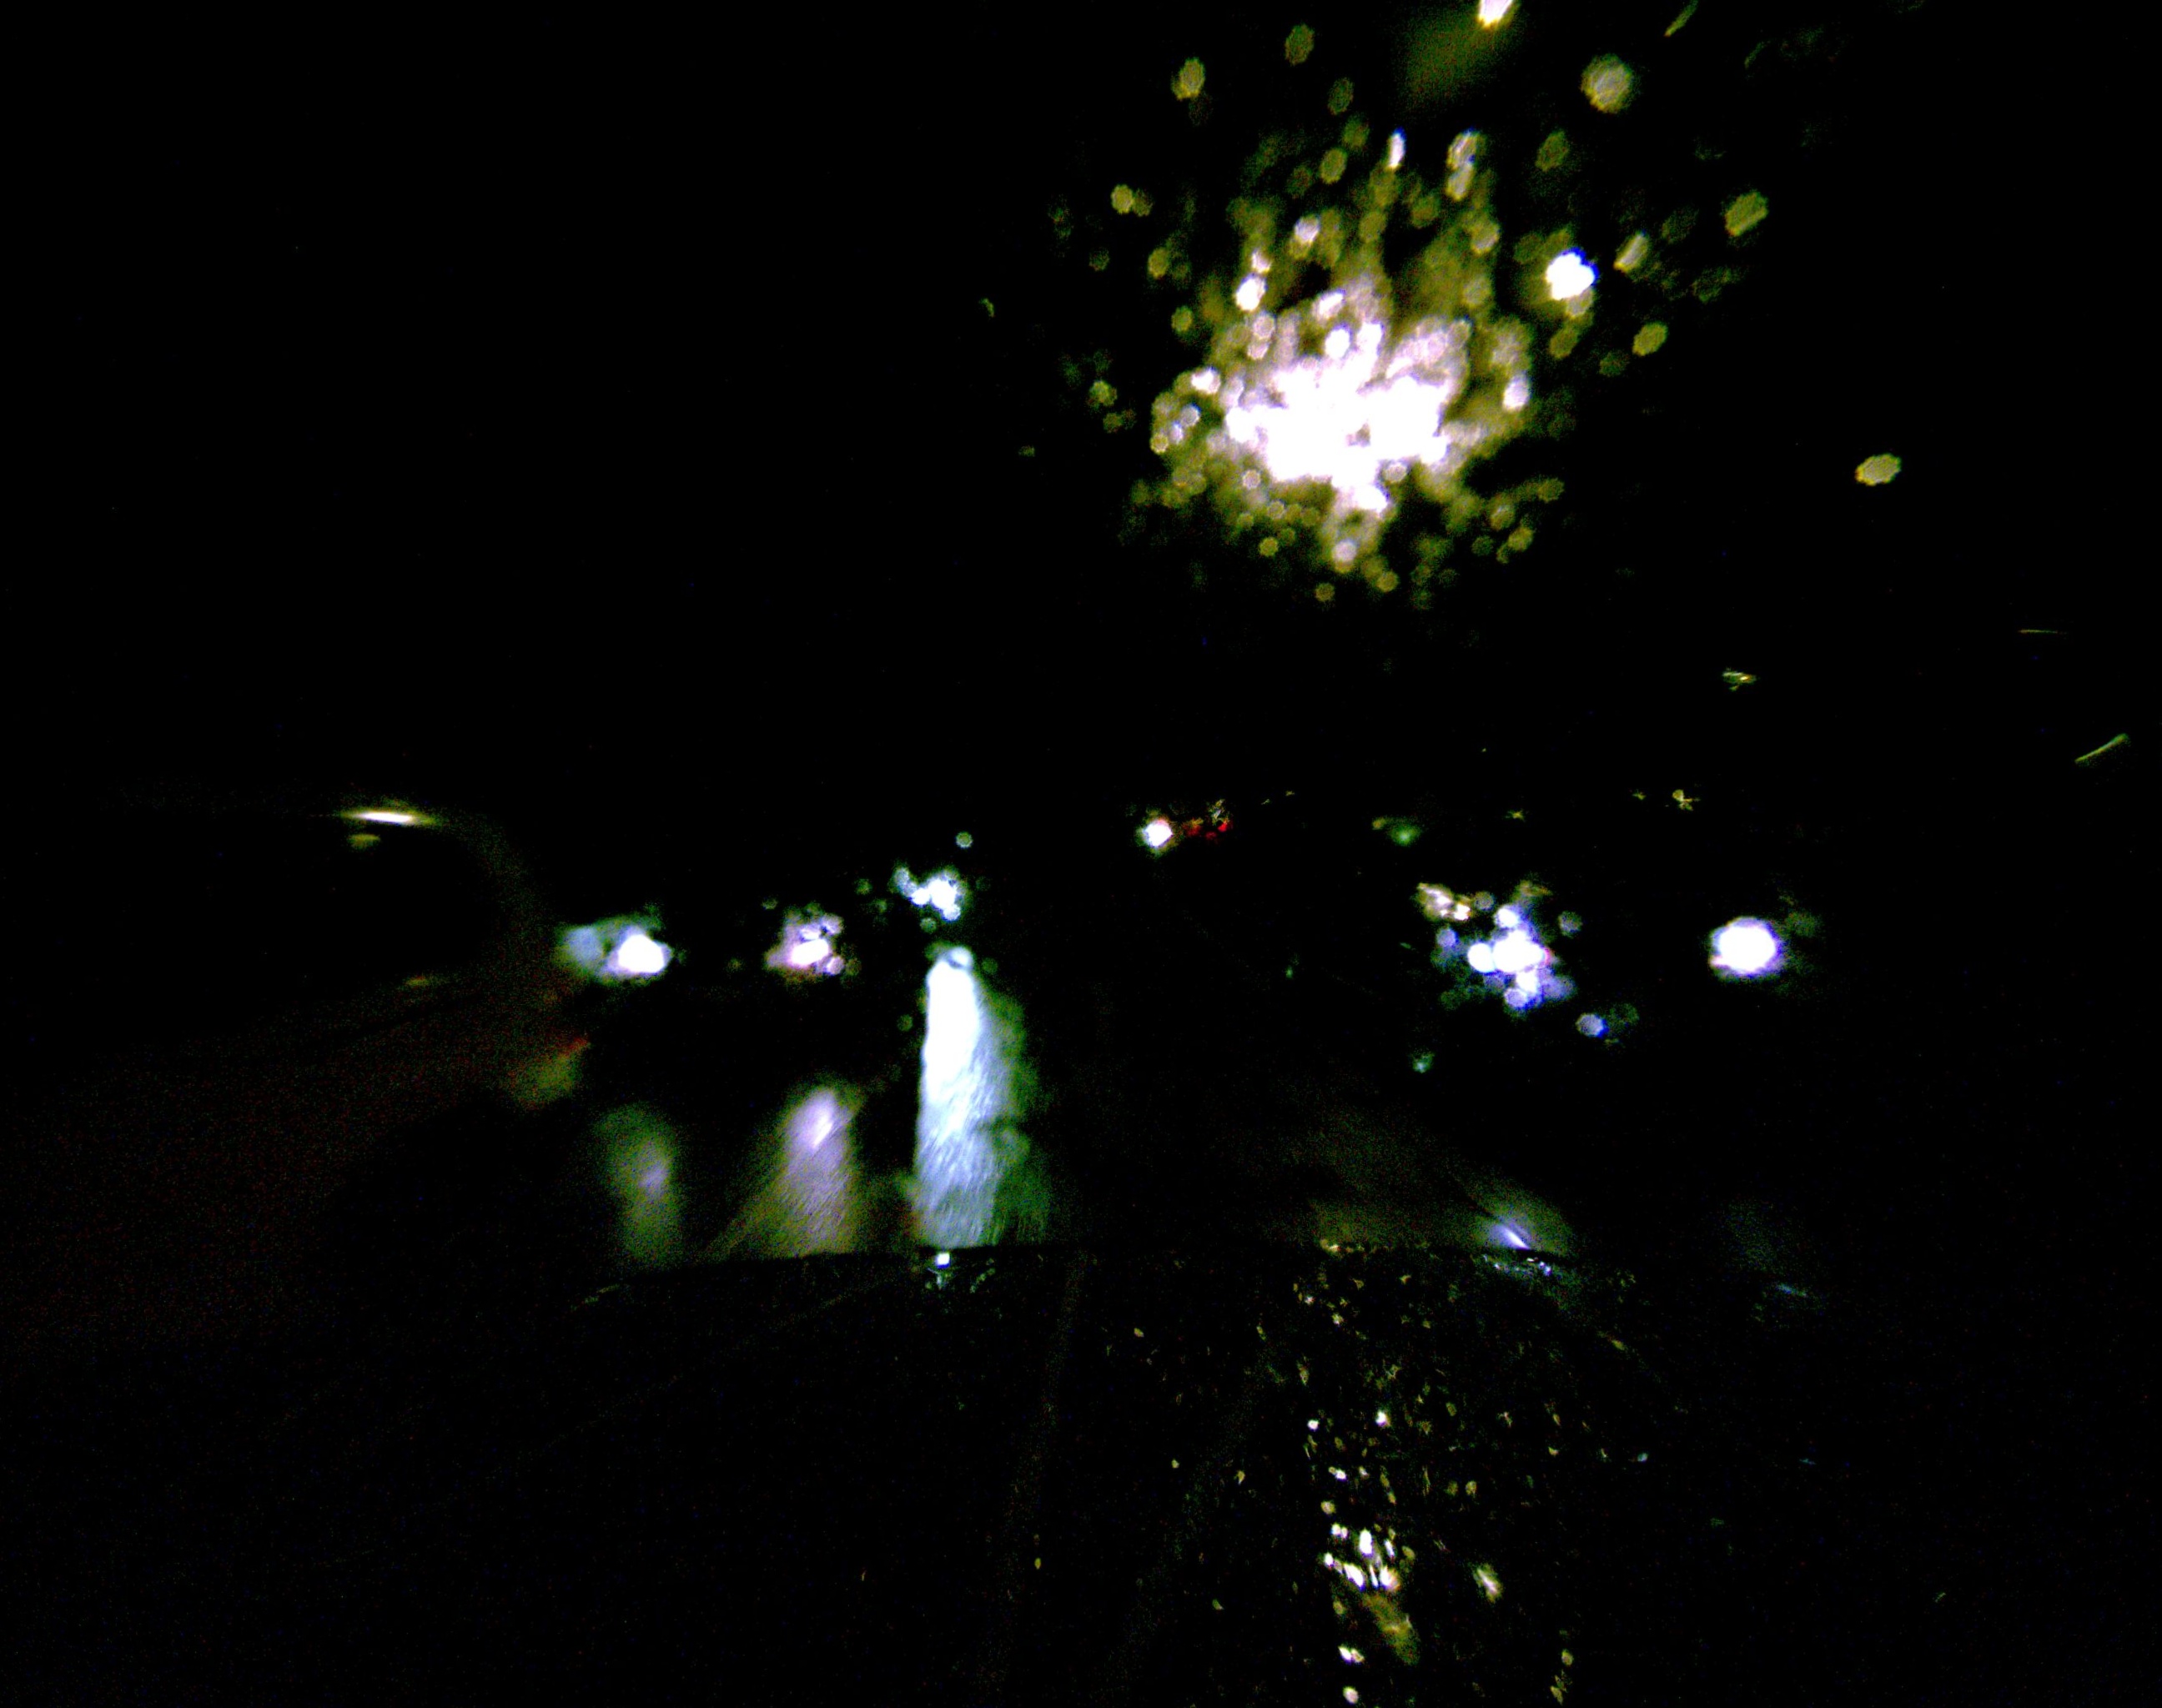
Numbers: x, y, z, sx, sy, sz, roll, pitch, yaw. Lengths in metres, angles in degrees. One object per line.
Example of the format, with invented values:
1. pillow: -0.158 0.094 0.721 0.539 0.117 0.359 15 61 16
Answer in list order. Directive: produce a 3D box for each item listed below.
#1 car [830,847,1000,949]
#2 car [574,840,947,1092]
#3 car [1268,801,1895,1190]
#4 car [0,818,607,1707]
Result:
1. car: -2.988 0.706 14.869 1.998 1.544 4.693 -3 1 3
2. car: -2.758 0.802 7.754 1.794 1.802 4.198 -3 1 2
3. car: 3.013 0.654 5.983 1.998 1.833 4.523 -3 1 1
4. car: -2.872 0.782 0.600 1.878 1.579 4.887 -3 1 -1
